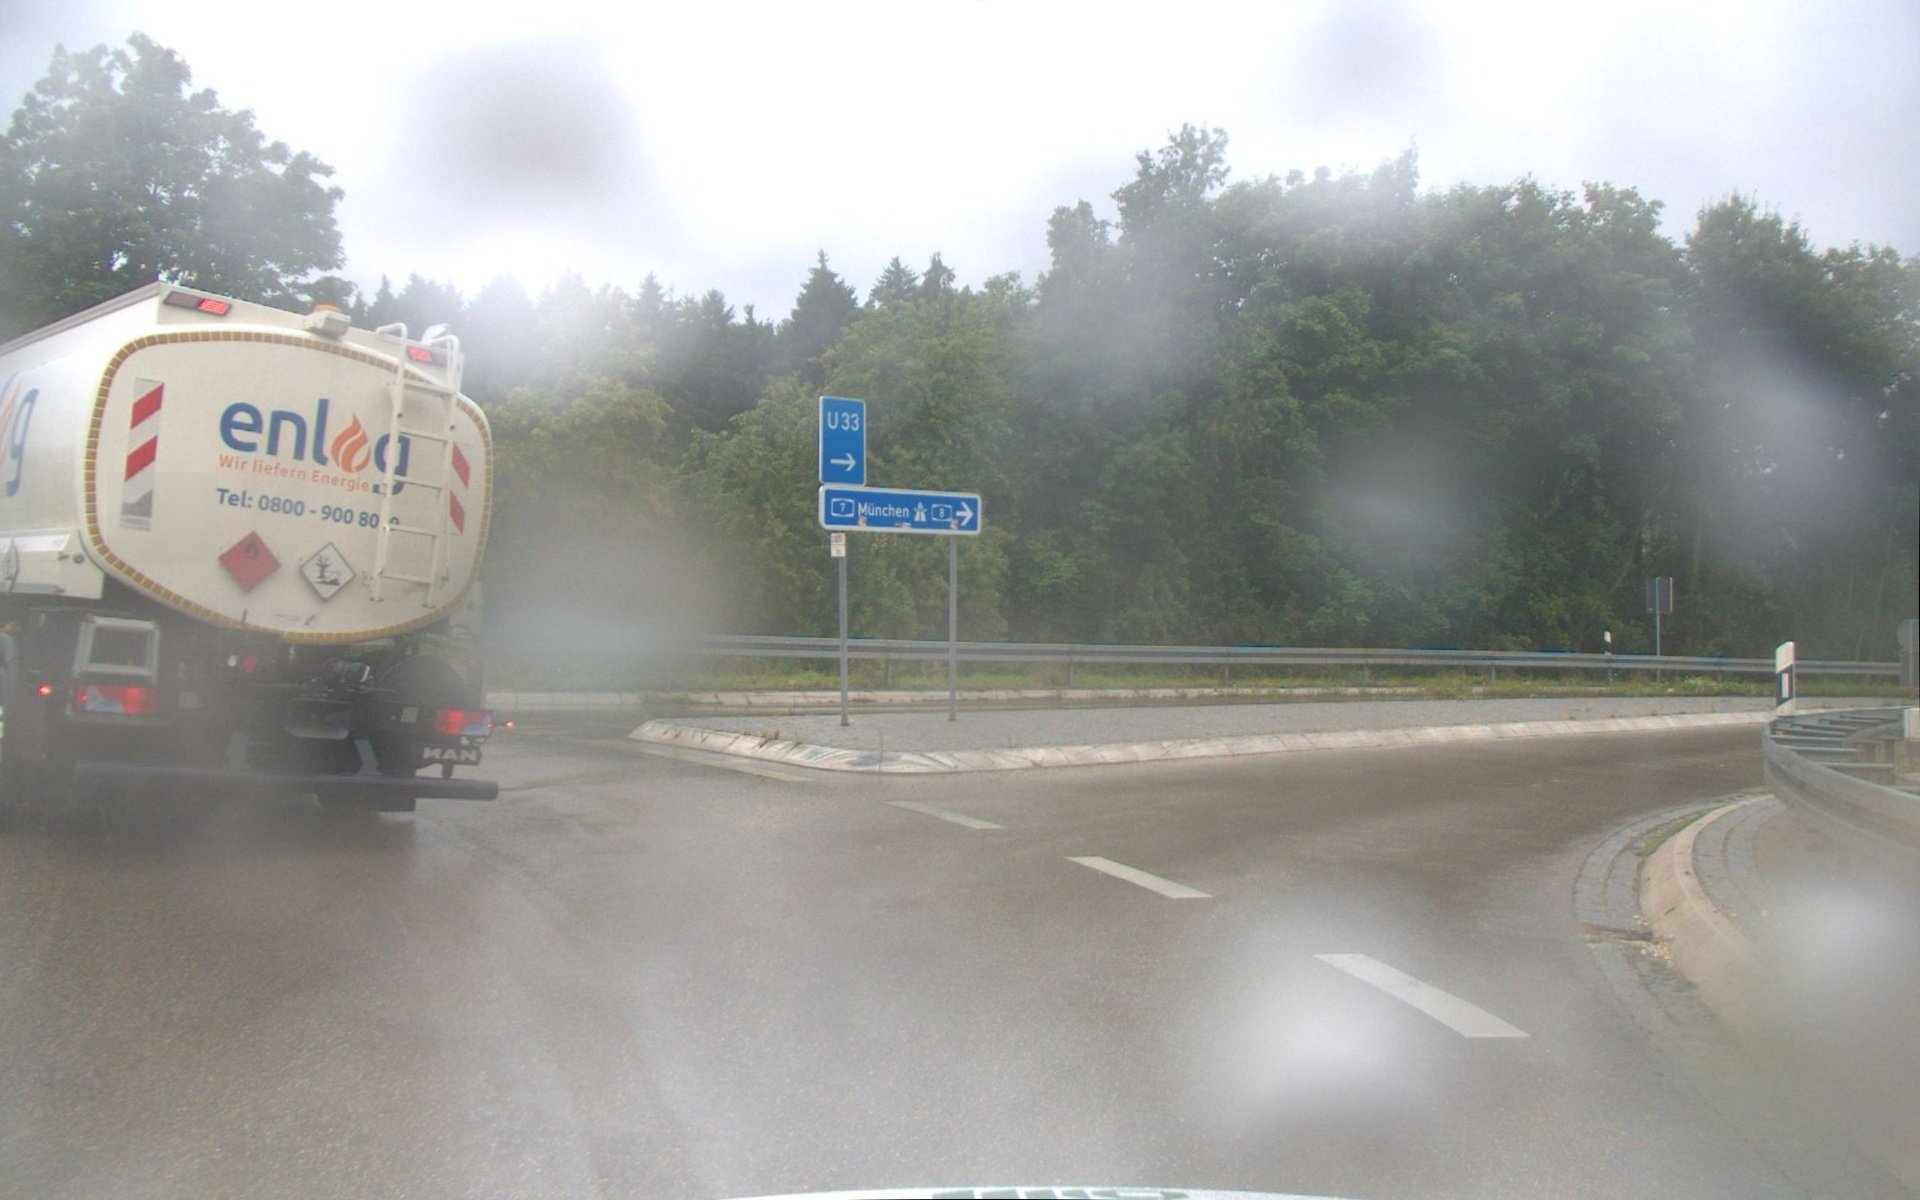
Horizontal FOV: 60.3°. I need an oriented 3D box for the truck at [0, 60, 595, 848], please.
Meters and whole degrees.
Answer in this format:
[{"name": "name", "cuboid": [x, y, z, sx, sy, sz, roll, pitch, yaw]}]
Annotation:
[{"name": "truck", "cuboid": [-6.178, -0.799, 12.593, 3.019, 3.919, 8.699, 2, 0, -39]}]
